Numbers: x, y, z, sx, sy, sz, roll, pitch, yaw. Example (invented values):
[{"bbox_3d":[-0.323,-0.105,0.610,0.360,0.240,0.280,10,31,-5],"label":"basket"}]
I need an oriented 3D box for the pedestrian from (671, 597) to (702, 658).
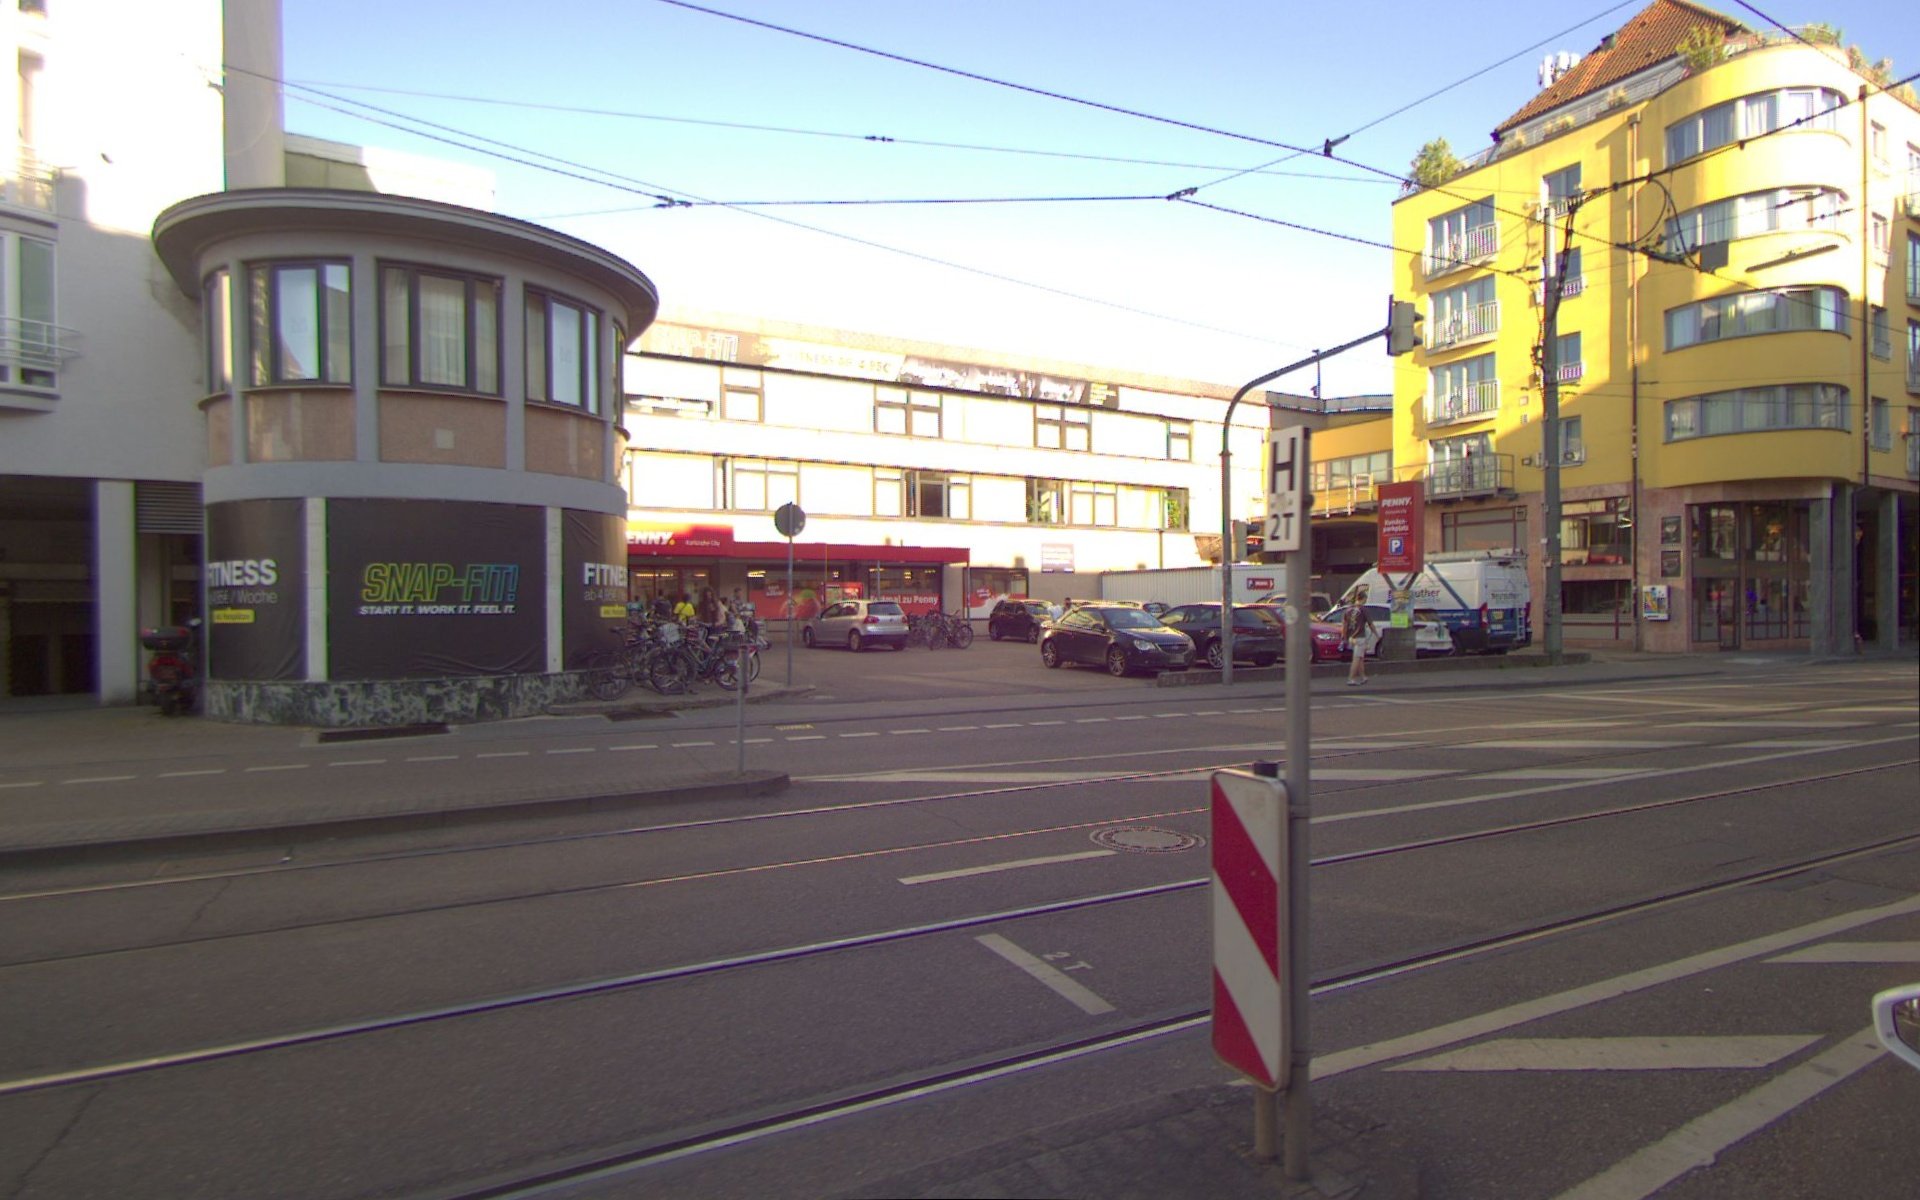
[{"bbox_3d":[-7.764,0.772,28.500,0.675,1.719,0.674,-1,0,-30],"label":"pedestrian"}]

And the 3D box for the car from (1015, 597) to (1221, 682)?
[{"bbox_3d":[3.275,0.795,21.938,1.856,1.604,4.874,-1,0,-29],"label":"car"}]

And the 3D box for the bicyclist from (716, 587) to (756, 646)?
[{"bbox_3d":[-6.128,0.447,27.482,0.826,1.570,0.687,-1,0,44],"label":"bicyclist"}]

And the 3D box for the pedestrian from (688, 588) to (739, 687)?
[{"bbox_3d":[-4.380,0.653,17.852,0.675,1.719,0.677,-1,0,-32],"label":"pedestrian"}]

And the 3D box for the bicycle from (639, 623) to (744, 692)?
[{"bbox_3d":[-4.981,1.045,18.695,1.811,1.203,0.445,-1,0,-33],"label":"bicycle"}]

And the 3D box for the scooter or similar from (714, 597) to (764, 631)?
[{"bbox_3d":[-6.638,0.412,30.172,1.233,0.974,0.908,0,0,-32],"label":"scooter or similar"}]

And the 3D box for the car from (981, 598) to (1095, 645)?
[{"bbox_3d":[2.624,0.709,34.606,1.978,1.528,3.966,0,0,-32],"label":"car"}]

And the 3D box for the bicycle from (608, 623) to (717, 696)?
[{"bbox_3d":[-5.293,1.044,17.915,1.811,1.203,0.445,-1,0,-33],"label":"bicycle"}]

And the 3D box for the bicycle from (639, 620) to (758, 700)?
[{"bbox_3d":[-4.211,0.940,16.231,1.813,1.203,0.437,-1,0,-36],"label":"bicycle"}]

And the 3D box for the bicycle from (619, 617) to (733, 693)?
[{"bbox_3d":[-4.812,0.908,17.104,1.811,1.203,0.440,-1,0,-33],"label":"bicycle"}]

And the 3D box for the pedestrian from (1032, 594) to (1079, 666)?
[{"bbox_3d":[2.312,0.716,24.350,0.826,1.691,0.766,-1,0,-29],"label":"pedestrian"}]

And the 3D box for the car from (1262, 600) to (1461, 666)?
[{"bbox_3d":[10.063,0.801,25.572,1.856,1.495,4.569,-1,0,-29],"label":"car"}]

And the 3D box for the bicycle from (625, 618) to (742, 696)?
[{"bbox_3d":[-4.580,0.918,16.709,1.811,1.203,0.445,-1,0,-33],"label":"bicycle"}]

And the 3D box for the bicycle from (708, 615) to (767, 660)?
[{"bbox_3d":[-6.104,1.020,27.462,1.806,1.186,0.679,-1,0,44],"label":"bicycle"}]

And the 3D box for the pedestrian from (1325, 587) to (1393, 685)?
[{"bbox_3d":[7.763,0.687,19.568,0.898,1.857,0.829,-1,0,-30],"label":"pedestrian"}]

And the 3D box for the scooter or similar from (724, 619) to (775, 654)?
[{"bbox_3d":[-6.157,1.042,29.354,1.233,0.974,0.908,0,0,-32],"label":"scooter or similar"}]

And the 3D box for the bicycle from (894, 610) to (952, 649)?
[{"bbox_3d":[-1.168,0.935,32.112,1.805,1.203,0.430,-1,0,-23],"label":"bicycle"}]

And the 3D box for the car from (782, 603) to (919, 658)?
[{"bbox_3d":[-3.398,0.900,30.516,1.865,1.495,4.548,-1,0,-41],"label":"car"}]

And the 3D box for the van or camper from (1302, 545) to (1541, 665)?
[{"bbox_3d":[12.209,0.150,27.073,2.286,2.865,5.583,-1,0,-29],"label":"van or camper"}]

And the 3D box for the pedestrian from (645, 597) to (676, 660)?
[{"bbox_3d":[-8.381,0.779,28.090,0.695,1.719,0.620,-1,0,-30],"label":"pedestrian"}]

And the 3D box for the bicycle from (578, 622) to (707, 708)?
[{"bbox_3d":[-4.807,0.962,15.270,1.814,1.203,0.442,-1,0,-36],"label":"bicycle"}]

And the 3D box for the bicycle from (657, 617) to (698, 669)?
[{"bbox_3d":[-6.908,1.028,24.534,0.346,1.203,1.813,-1,0,-36],"label":"bicycle"}]

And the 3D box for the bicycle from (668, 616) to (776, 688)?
[{"bbox_3d":[-4.232,0.910,17.925,1.811,1.203,0.445,-1,0,-33],"label":"bicycle"}]

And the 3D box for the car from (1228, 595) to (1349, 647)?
[{"bbox_3d":[11.775,0.718,35.943,4.074,1.759,1.983,0,-1,-32],"label":"car"}]

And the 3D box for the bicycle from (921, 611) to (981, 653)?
[{"bbox_3d":[-0.268,0.956,30.427,1.805,1.203,0.430,-1,0,-23],"label":"bicycle"}]

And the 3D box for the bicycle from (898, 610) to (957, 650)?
[{"bbox_3d":[-1.017,0.934,31.631,1.805,1.203,0.430,-1,0,-23],"label":"bicycle"}]

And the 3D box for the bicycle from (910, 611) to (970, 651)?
[{"bbox_3d":[-0.605,0.944,30.968,1.805,1.203,0.430,-1,0,-23],"label":"bicycle"}]

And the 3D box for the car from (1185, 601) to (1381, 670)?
[{"bbox_3d":[7.795,0.818,24.717,1.856,1.495,4.569,-1,0,-29],"label":"car"}]

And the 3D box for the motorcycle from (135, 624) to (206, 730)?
[{"bbox_3d":[-11.035,1.035,14.085,0.555,1.296,1.745,-1,2,-32],"label":"motorcycle"}]

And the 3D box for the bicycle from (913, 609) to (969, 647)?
[{"bbox_3d":[-0.626,0.916,33.397,1.805,1.203,0.430,-1,0,-23],"label":"bicycle"}]

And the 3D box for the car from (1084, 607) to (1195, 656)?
[{"bbox_3d":[6.624,1.118,37.457,1.978,1.723,3.966,0,0,-32],"label":"car"}]

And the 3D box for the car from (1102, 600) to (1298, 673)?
[{"bbox_3d":[5.454,0.800,23.463,1.856,1.495,4.569,-1,0,-29],"label":"car"}]
